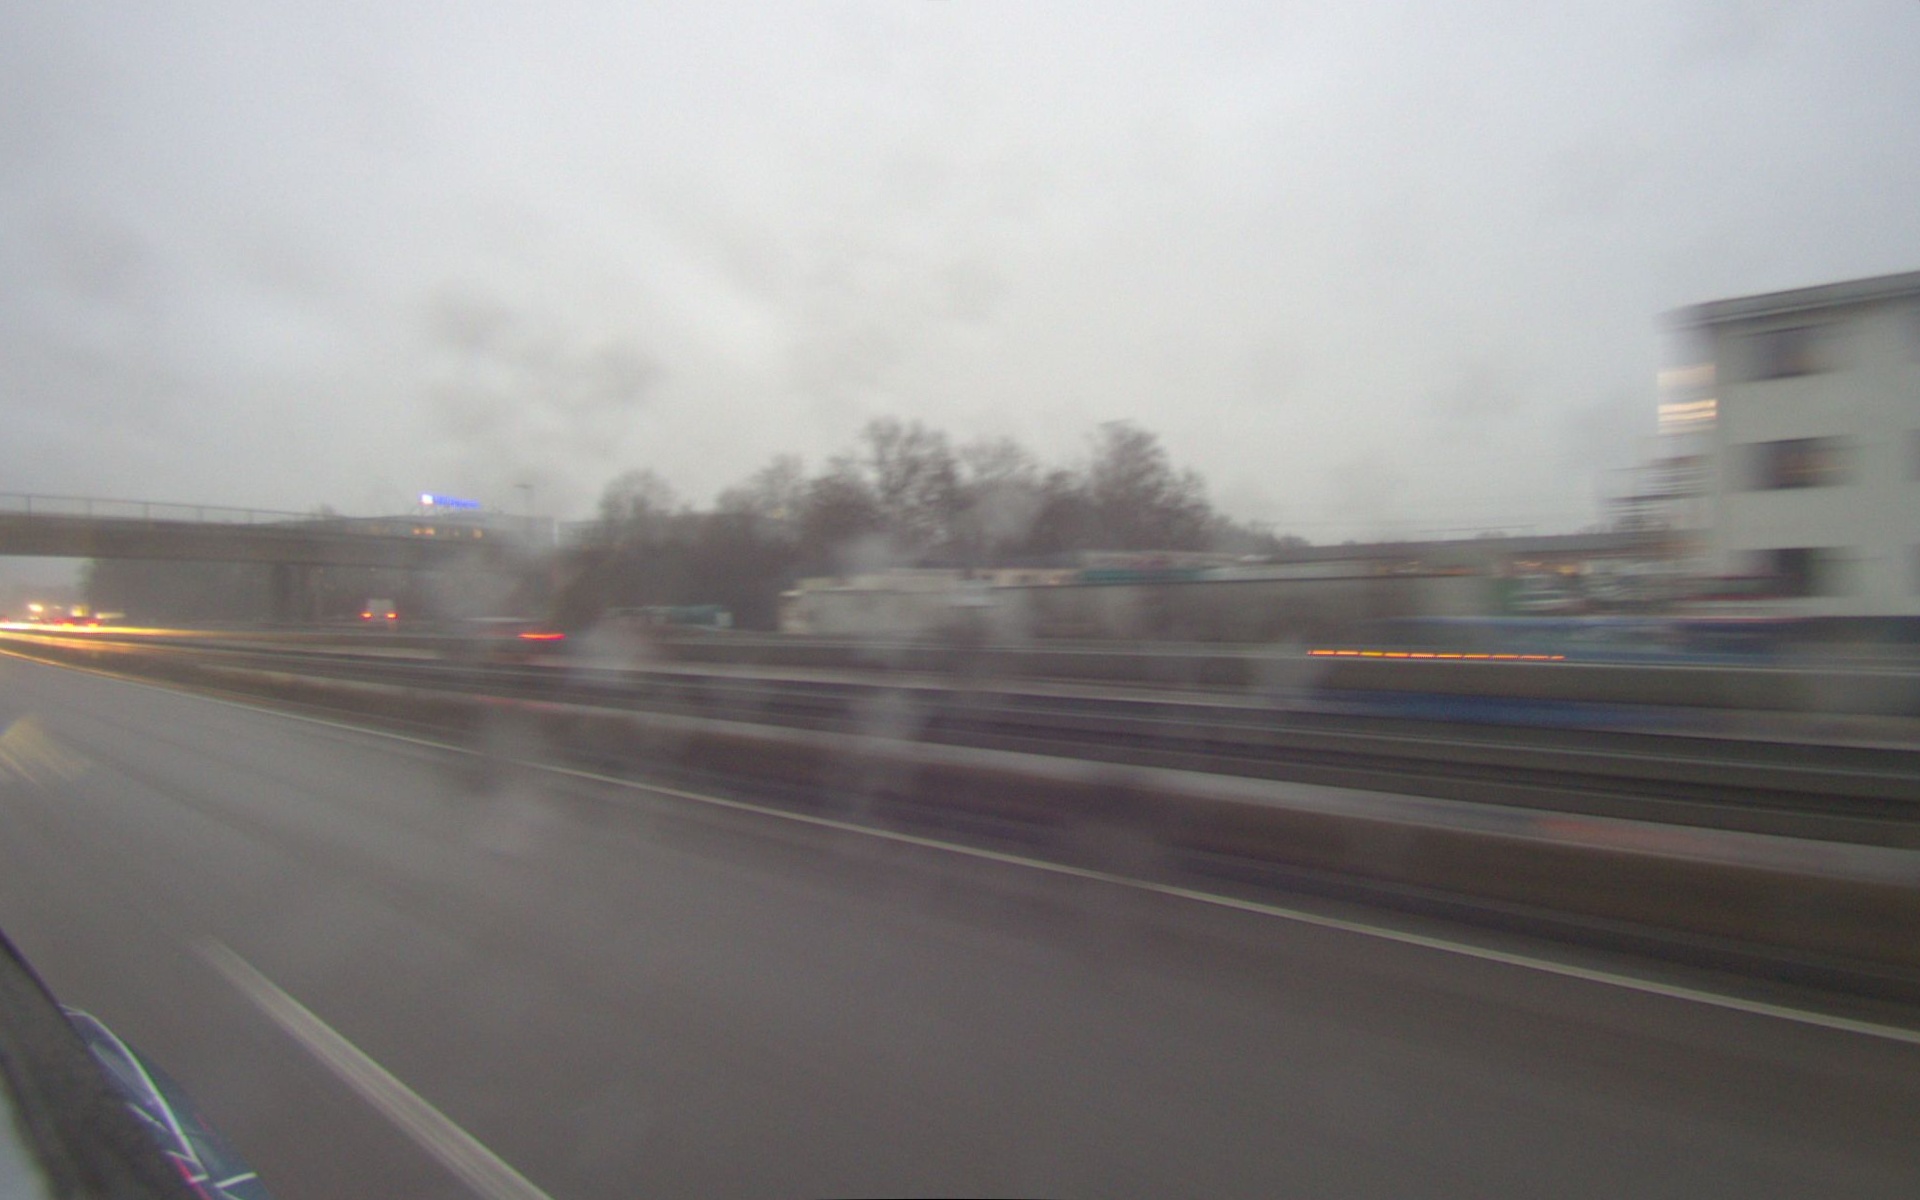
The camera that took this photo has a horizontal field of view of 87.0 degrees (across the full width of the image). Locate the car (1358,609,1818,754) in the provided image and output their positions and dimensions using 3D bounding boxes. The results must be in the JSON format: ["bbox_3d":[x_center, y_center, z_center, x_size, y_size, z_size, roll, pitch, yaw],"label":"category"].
[{"bbox_3d":[6.230,0.716,10.310,3.796,1.196,1.443,-1,0,41],"label":"car"}]

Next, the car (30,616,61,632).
[{"bbox_3d":[-94.444,2.484,104.514,3.998,1.584,1.973,-1,0,41],"label":"car"}]

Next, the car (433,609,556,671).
[{"bbox_3d":[-13.348,1.088,28.923,3.998,1.603,1.706,-1,1,41],"label":"car"}]

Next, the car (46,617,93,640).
[{"bbox_3d":[-63.067,2.002,71.653,3.998,1.584,1.973,-1,0,41],"label":"car"}]
